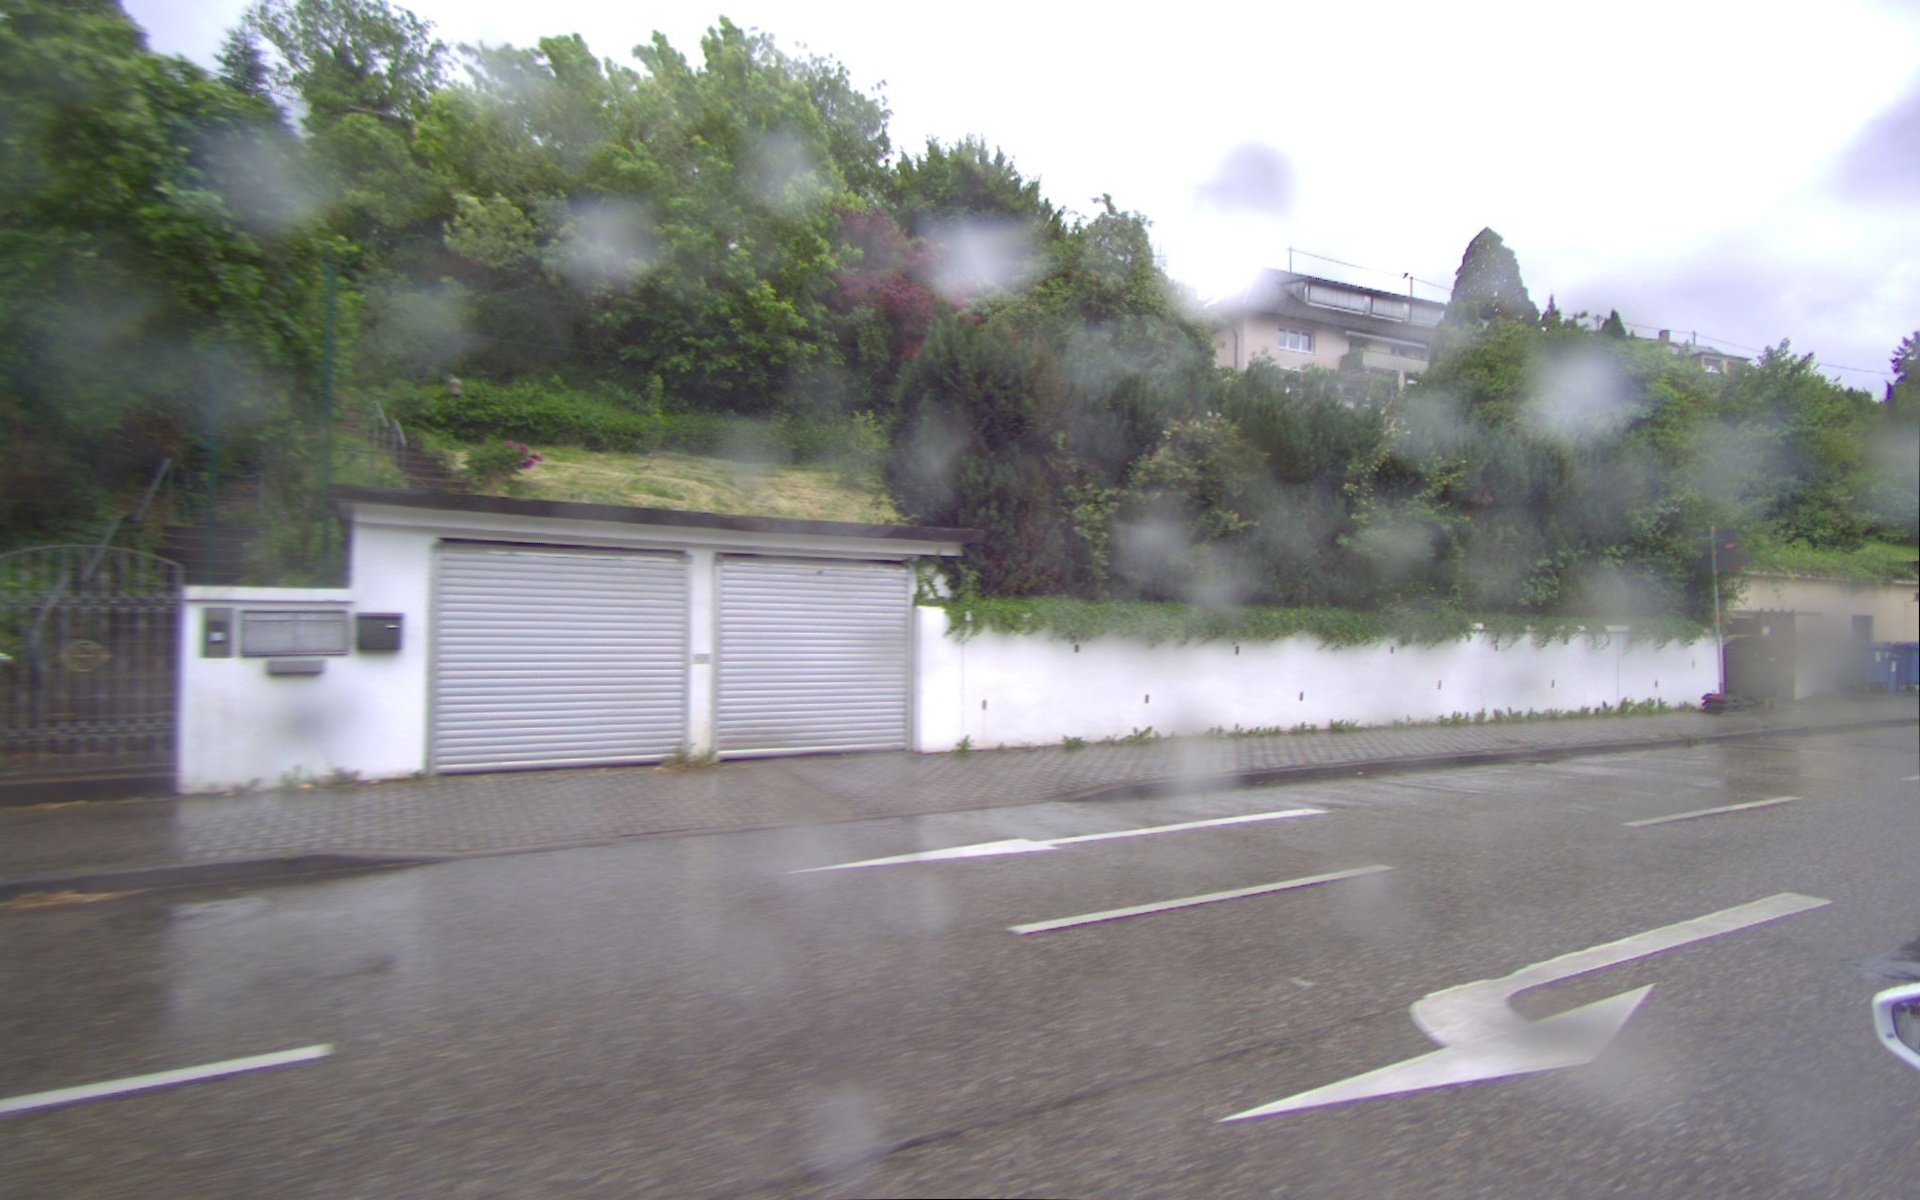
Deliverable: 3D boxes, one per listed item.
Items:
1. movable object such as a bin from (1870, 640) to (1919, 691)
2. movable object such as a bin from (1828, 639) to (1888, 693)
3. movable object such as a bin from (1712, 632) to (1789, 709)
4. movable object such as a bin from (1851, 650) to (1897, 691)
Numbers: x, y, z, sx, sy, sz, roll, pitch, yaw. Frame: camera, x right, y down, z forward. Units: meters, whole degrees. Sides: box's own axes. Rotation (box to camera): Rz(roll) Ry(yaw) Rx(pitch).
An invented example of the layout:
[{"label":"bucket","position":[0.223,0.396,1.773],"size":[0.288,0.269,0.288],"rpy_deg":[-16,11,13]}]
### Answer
[{"label":"movable object such as a bin","position":[25.939,1.792,27.687],"size":[1.383,1.332,0.818],"rpy_deg":[1,-1,-25]},{"label":"movable object such as a bin","position":[23.992,1.752,26.837],"size":[1.119,1.400,0.818],"rpy_deg":[1,-1,-25]},{"label":"movable object such as a bin","position":[16.195,1.433,20.579],"size":[0.852,1.464,0.928],"rpy_deg":[3,1,-30]},{"label":"movable object such as a bin","position":[24.786,1.898,27.248],"size":[0.599,1.056,0.733],"rpy_deg":[1,-1,-24]}]
